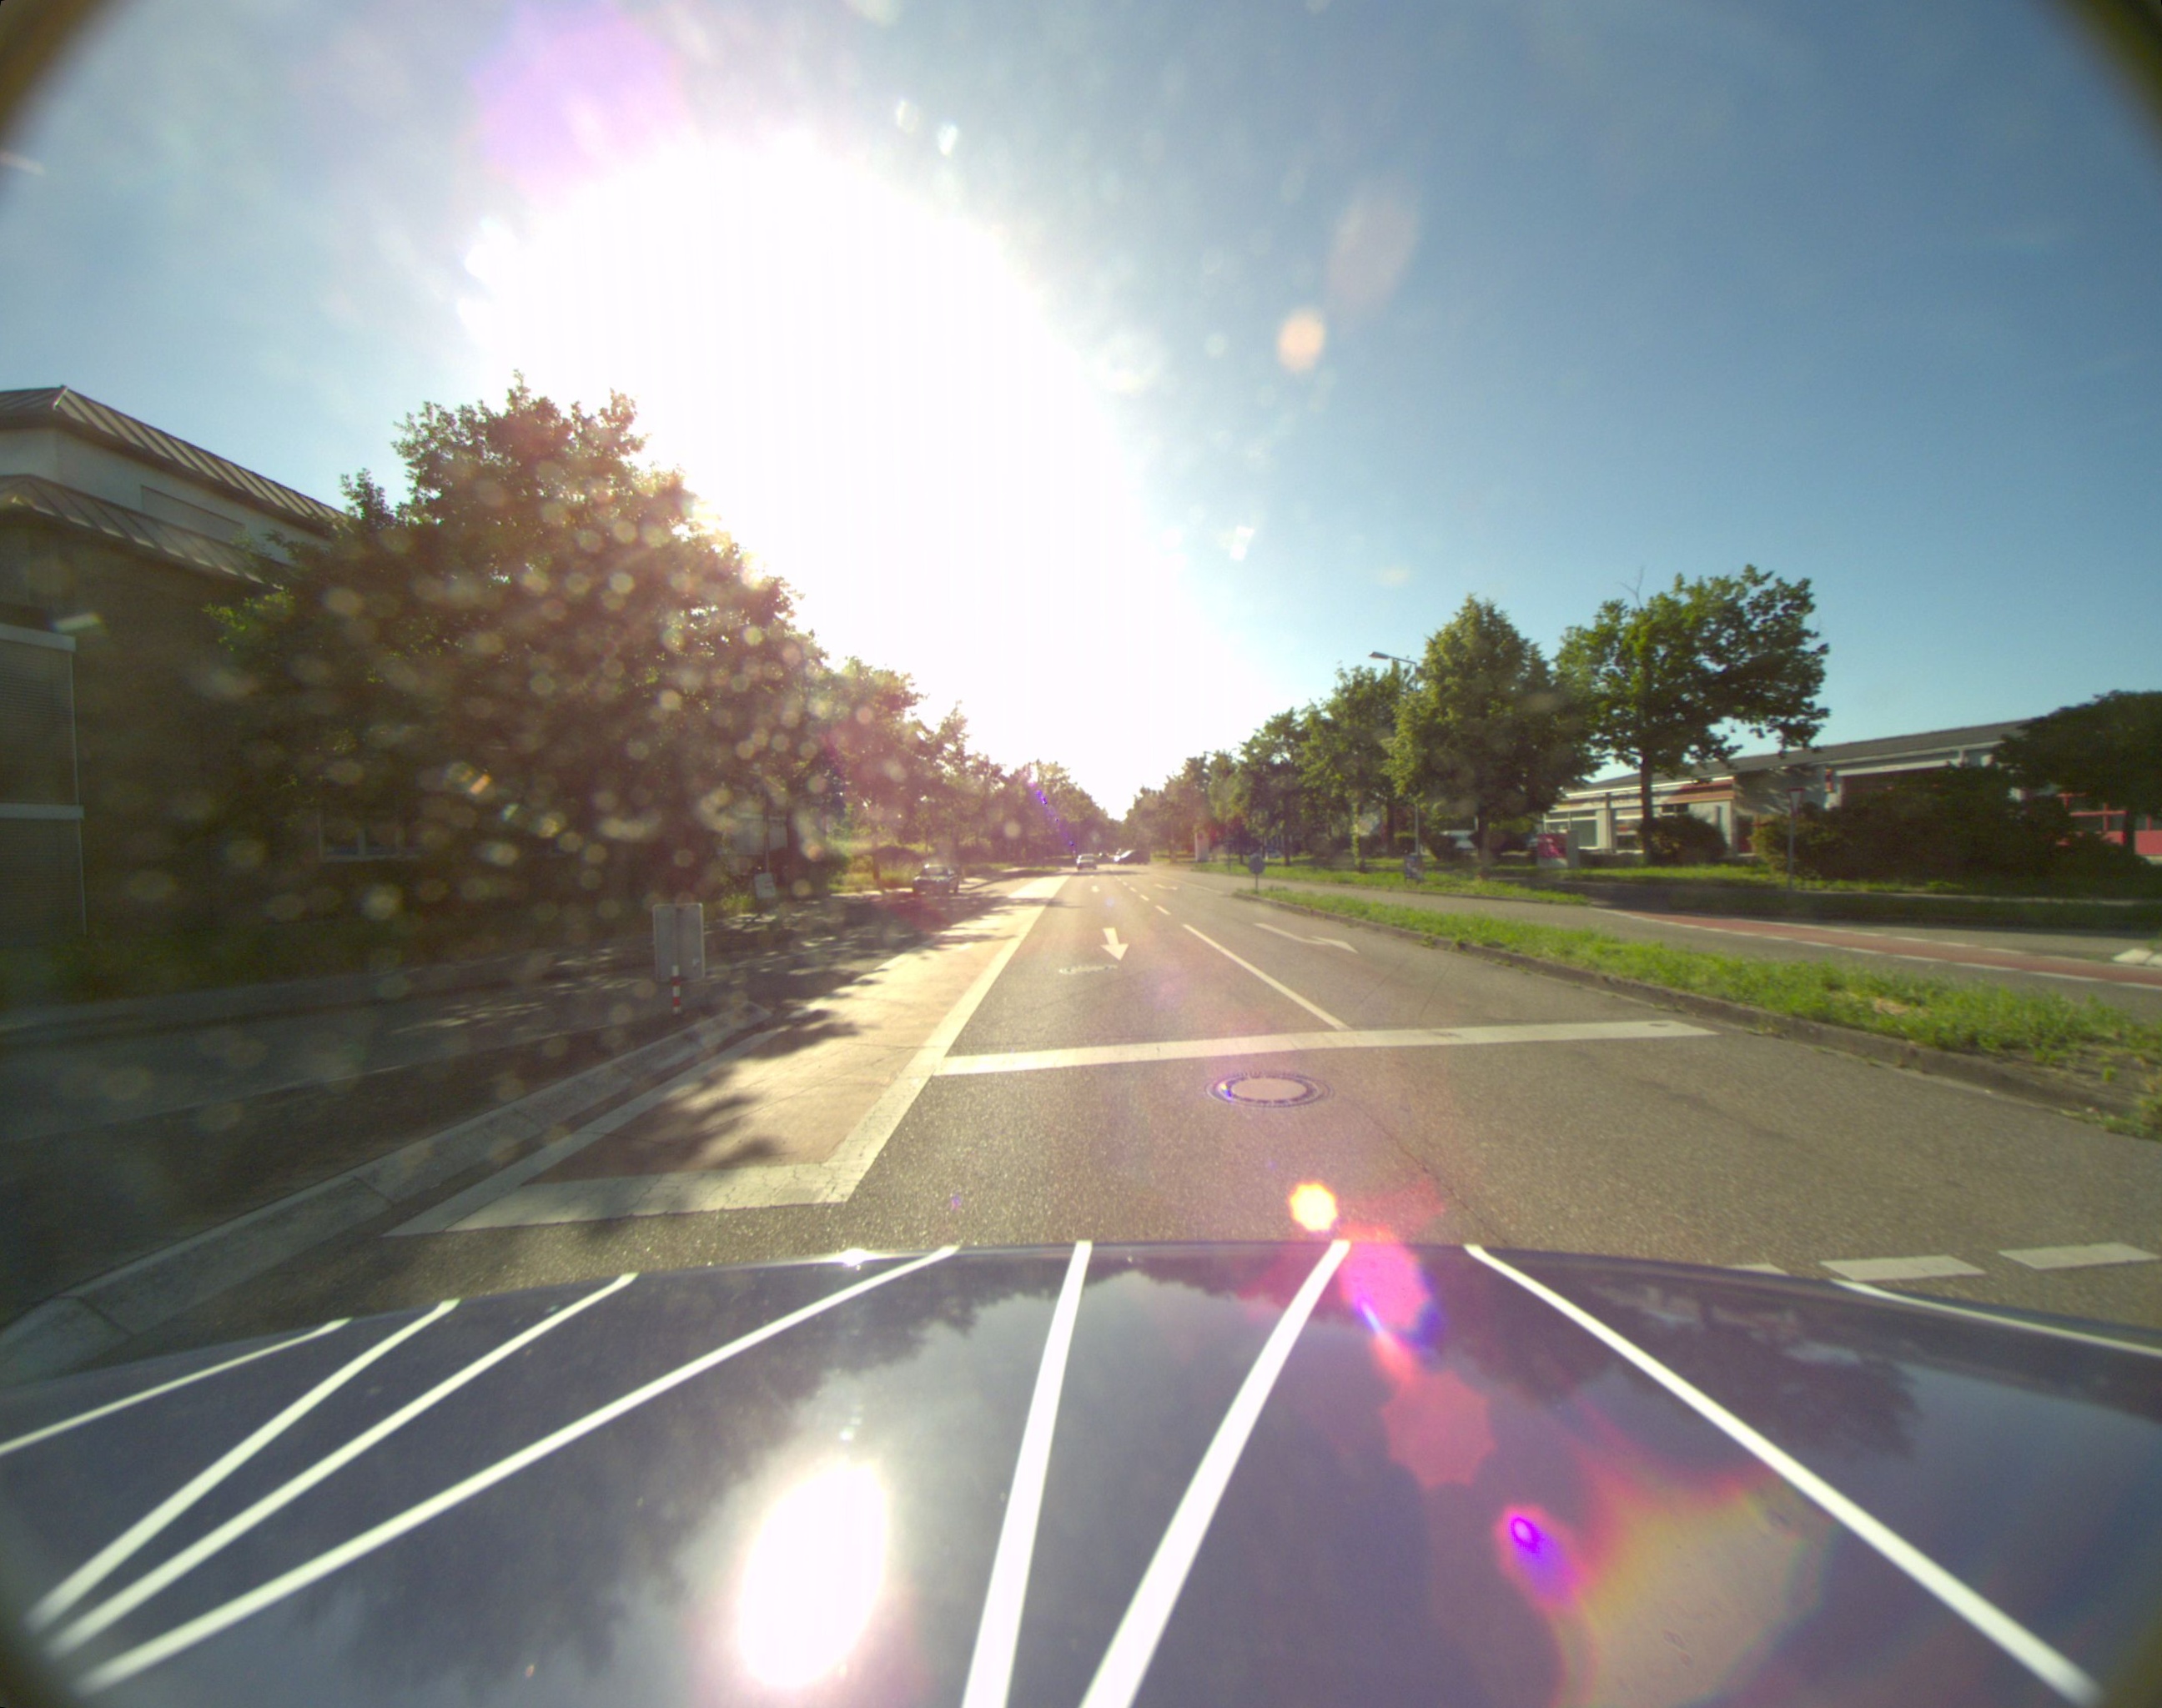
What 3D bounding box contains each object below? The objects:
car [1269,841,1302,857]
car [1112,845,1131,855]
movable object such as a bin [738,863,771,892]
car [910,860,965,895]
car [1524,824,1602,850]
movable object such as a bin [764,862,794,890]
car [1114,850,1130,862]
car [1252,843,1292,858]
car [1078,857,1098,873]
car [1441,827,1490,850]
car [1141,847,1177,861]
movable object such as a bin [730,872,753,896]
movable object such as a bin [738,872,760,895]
[{"bbox_3d":[26.348,-0.688,97.970,3.994,2.002,2.001,-1,1,9],"label":"car"},{"bbox_3d":[7.098,-0.661,132.217,1.995,1.674,4.006,-2,1,23],"label":"car"},{"bbox_3d":[-16.215,1.163,37.758,1.208,1.333,0.796,-2,1,1],"label":"movable object such as a bin"},{"bbox_3d":[-6.950,1.100,37.121,1.776,1.477,4.214,-1,1,1],"label":"car"},{"bbox_3d":[34.590,-1.220,54.611,4.238,1.578,1.997,-3,1,-1],"label":"car"},{"bbox_3d":[-15.037,1.095,37.830,1.089,1.314,0.796,-2,1,1],"label":"movable object such as a bin"},{"bbox_3d":[5.093,0.245,94.432,1.776,1.477,4.214,-1,1,1],"label":"car"},{"bbox_3d":[23.492,-0.419,93.651,4.489,1.696,2.001,-1,1,6],"label":"car"},{"bbox_3d":[0.643,1.061,73.814,1.777,1.477,3.779,-1,1,-1],"label":"car"},{"bbox_3d":[39.791,-1.613,78.690,4.212,2.204,1.777,-2,1,-2],"label":"car"},{"bbox_3d":[9.638,-0.007,94.209,4.211,1.477,1.778,-2,1,1],"label":"car"},{"bbox_3d":[-15.699,1.403,35.187,0.687,1.036,0.695,-3,1,1],"label":"movable object such as a bin"},{"bbox_3d":[-15.678,1.382,35.907,0.687,1.036,0.695,-2,1,1],"label":"movable object such as a bin"}]
